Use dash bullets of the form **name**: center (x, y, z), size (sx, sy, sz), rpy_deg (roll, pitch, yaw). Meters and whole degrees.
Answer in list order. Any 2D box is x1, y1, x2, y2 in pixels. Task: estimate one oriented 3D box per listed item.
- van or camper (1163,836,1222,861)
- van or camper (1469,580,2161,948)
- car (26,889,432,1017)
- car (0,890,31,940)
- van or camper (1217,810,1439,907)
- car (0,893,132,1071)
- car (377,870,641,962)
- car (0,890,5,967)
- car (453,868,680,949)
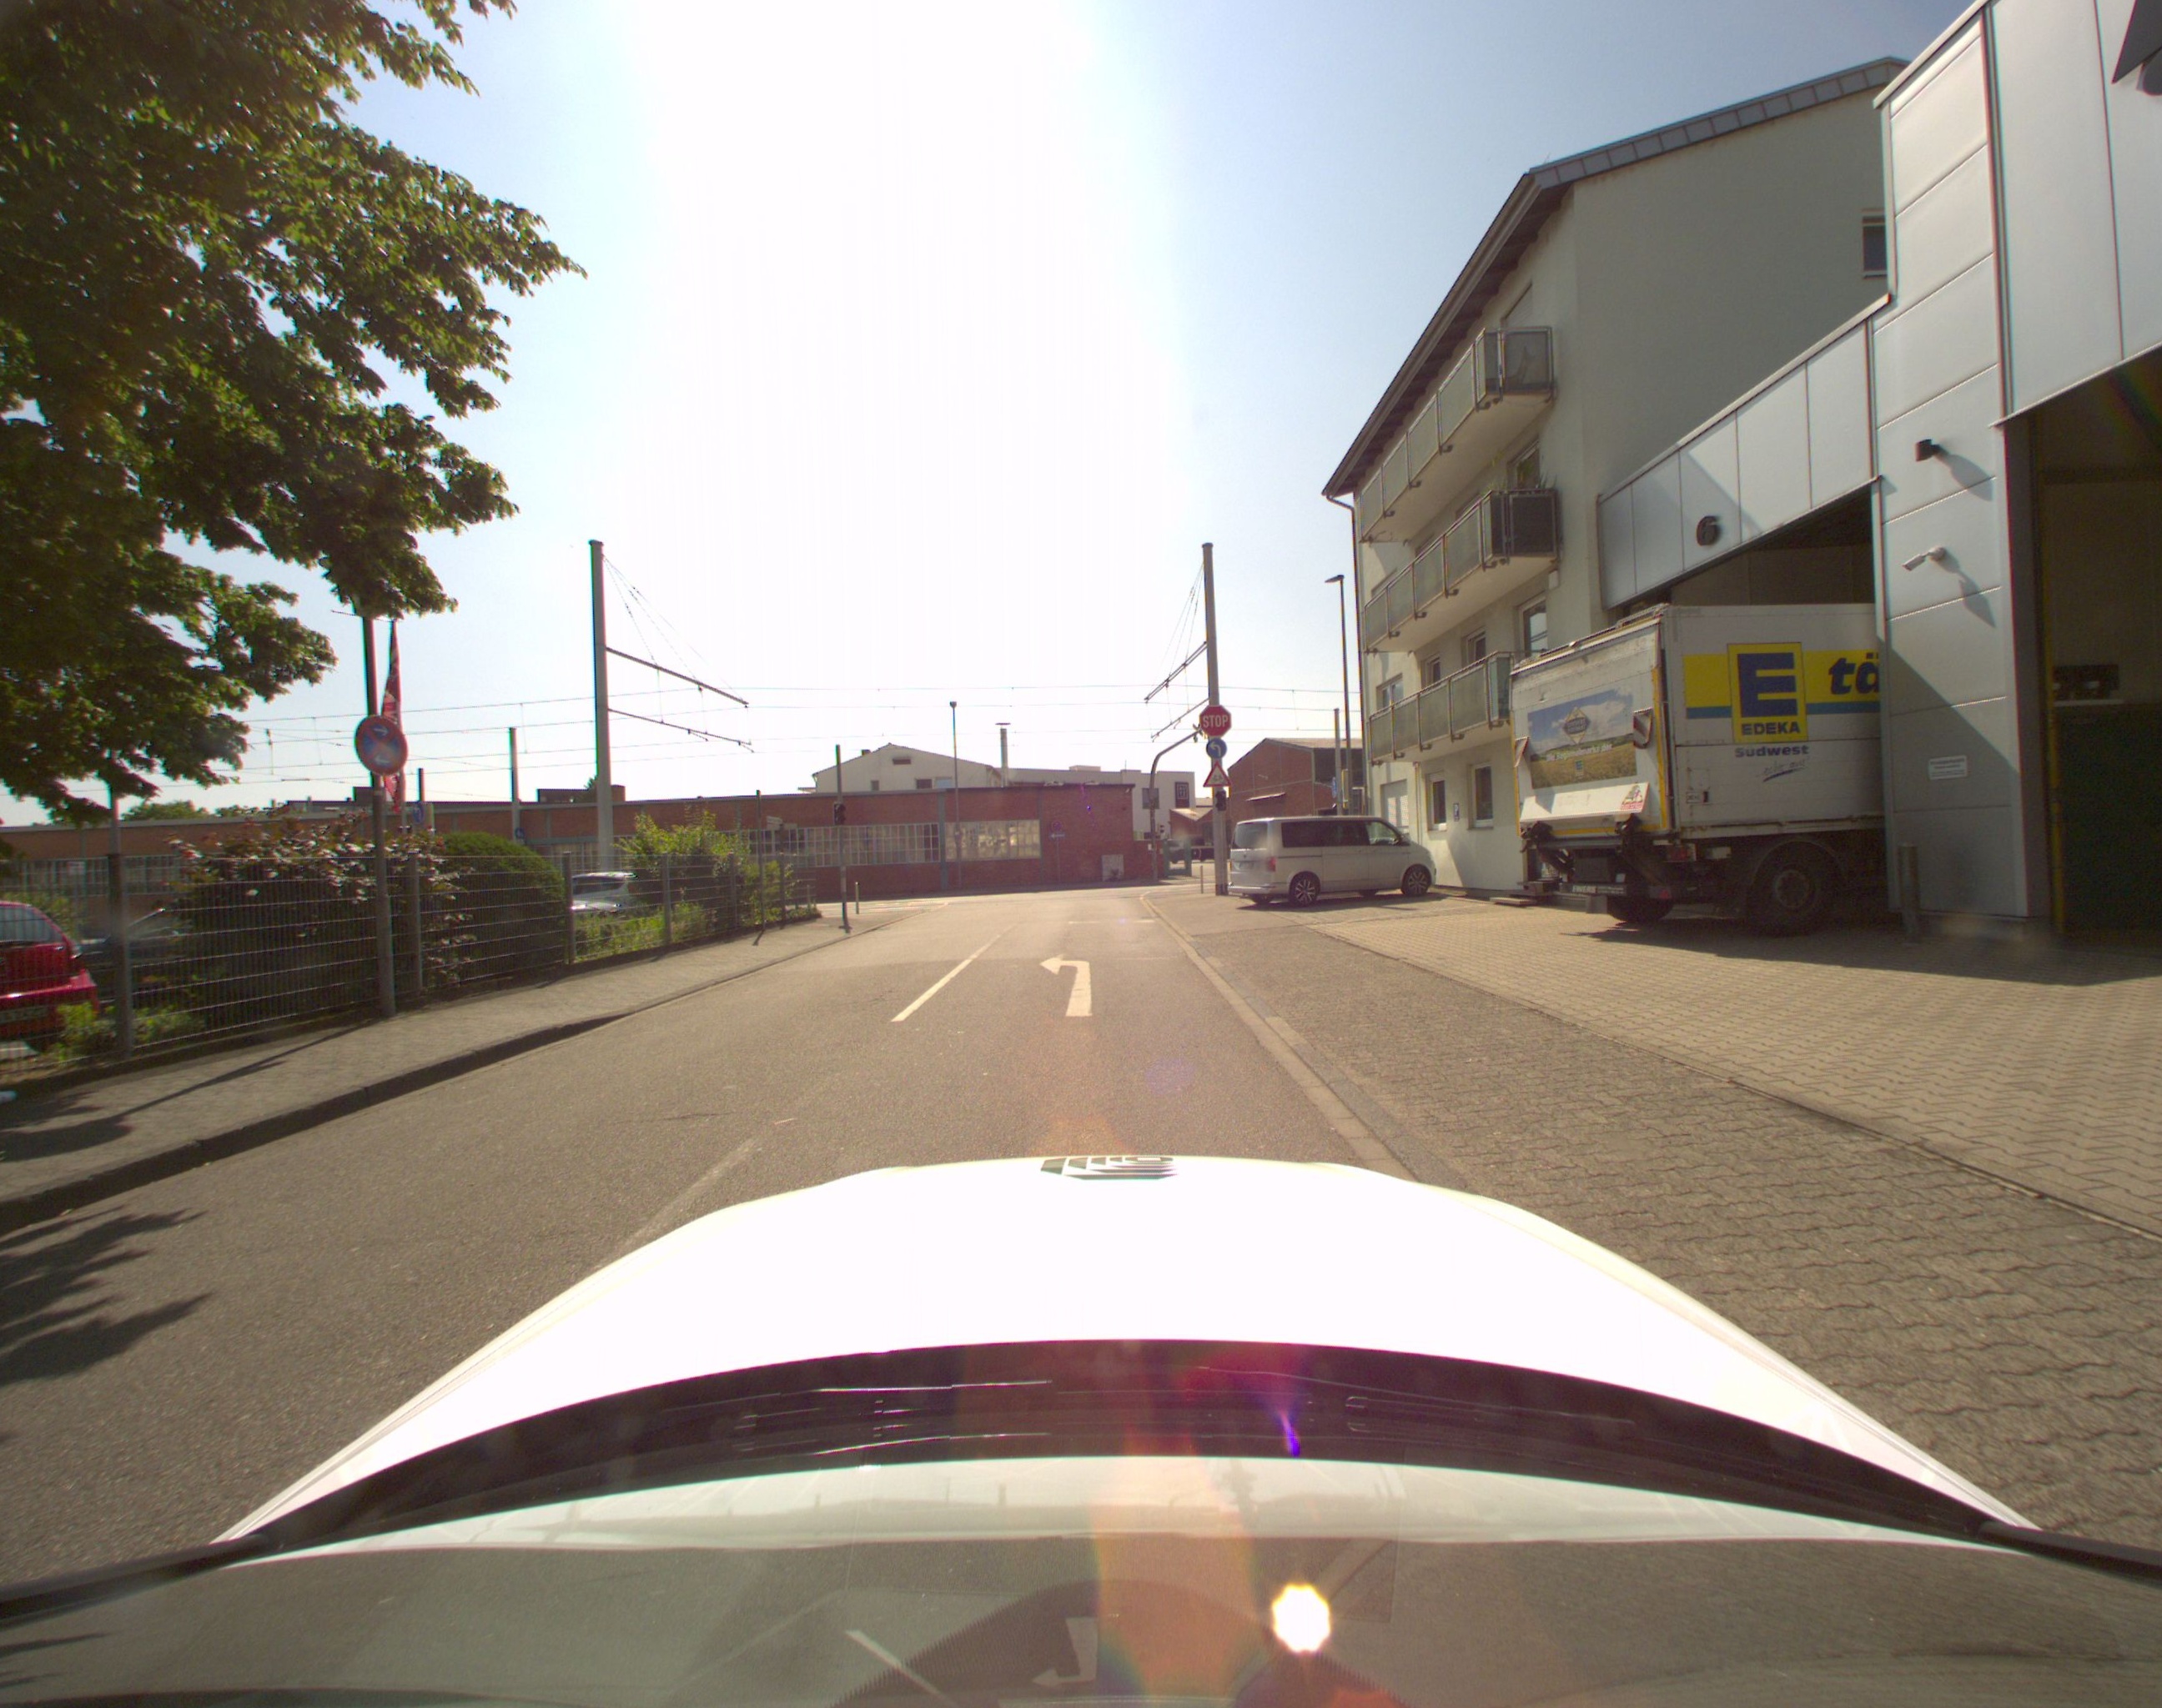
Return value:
- **van or camper**: center (8.770, -0.410, 63.969), size (4.440, 1.900, 1.978), rpy_deg (0, -1, -35)
- **van or camper**: center (11.366, -1.219, 10.562), size (11.587, 3.692, 2.775), rpy_deg (-4, 0, -7)
- **car**: center (-11.548, 1.303, 11.232), size (3.751, 1.366, 1.768), rpy_deg (-3, 0, 2)
- **car**: center (-31.203, 1.771, 21.501), size (1.733, 1.370, 3.844), rpy_deg (-3, 0, 7)
- **van or camper**: center (5.628, 0.057, 18.631), size (4.556, 1.908, 1.987), rpy_deg (-2, 0, -20)
- **car**: center (-10.949, 1.207, 7.198), size (3.365, 1.485, 1.518), rpy_deg (-3, -1, 2)
- **car**: center (-11.260, 1.190, 16.268), size (3.884, 1.512, 1.804), rpy_deg (-3, 0, -2)
- **car**: center (-27.996, 1.870, 18.810), size (3.966, 1.849, 2.004), rpy_deg (-2, -1, 6)
- **car**: center (-11.496, 1.186, 18.417), size (3.884, 1.512, 1.804), rpy_deg (-3, 0, -2)
